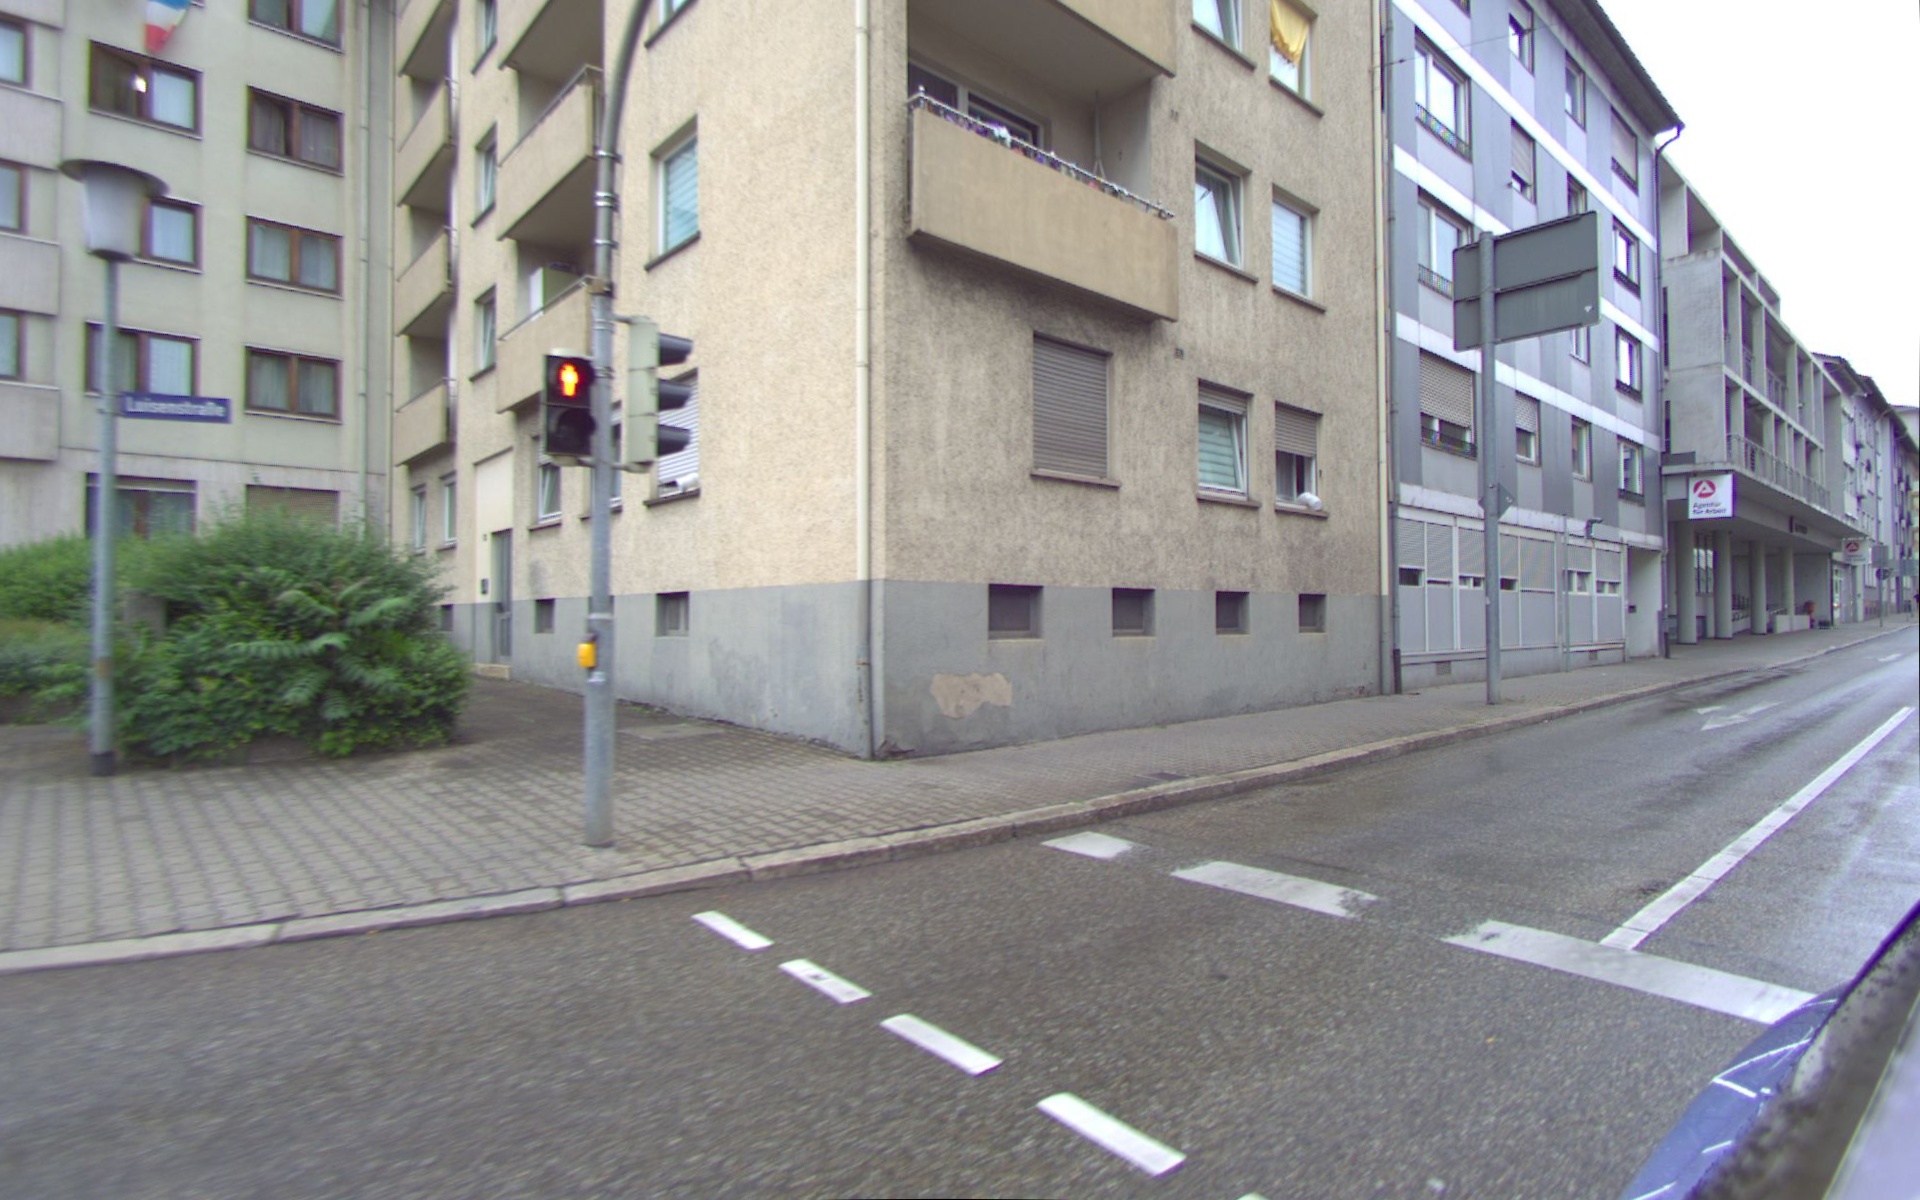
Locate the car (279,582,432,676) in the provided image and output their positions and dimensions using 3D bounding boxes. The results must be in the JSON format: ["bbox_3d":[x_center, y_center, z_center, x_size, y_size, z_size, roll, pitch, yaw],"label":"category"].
[{"bbox_3d":[-11.011,0.442,18.365,1.737,1.492,3.318,-1,2,-43],"label":"car"}]
